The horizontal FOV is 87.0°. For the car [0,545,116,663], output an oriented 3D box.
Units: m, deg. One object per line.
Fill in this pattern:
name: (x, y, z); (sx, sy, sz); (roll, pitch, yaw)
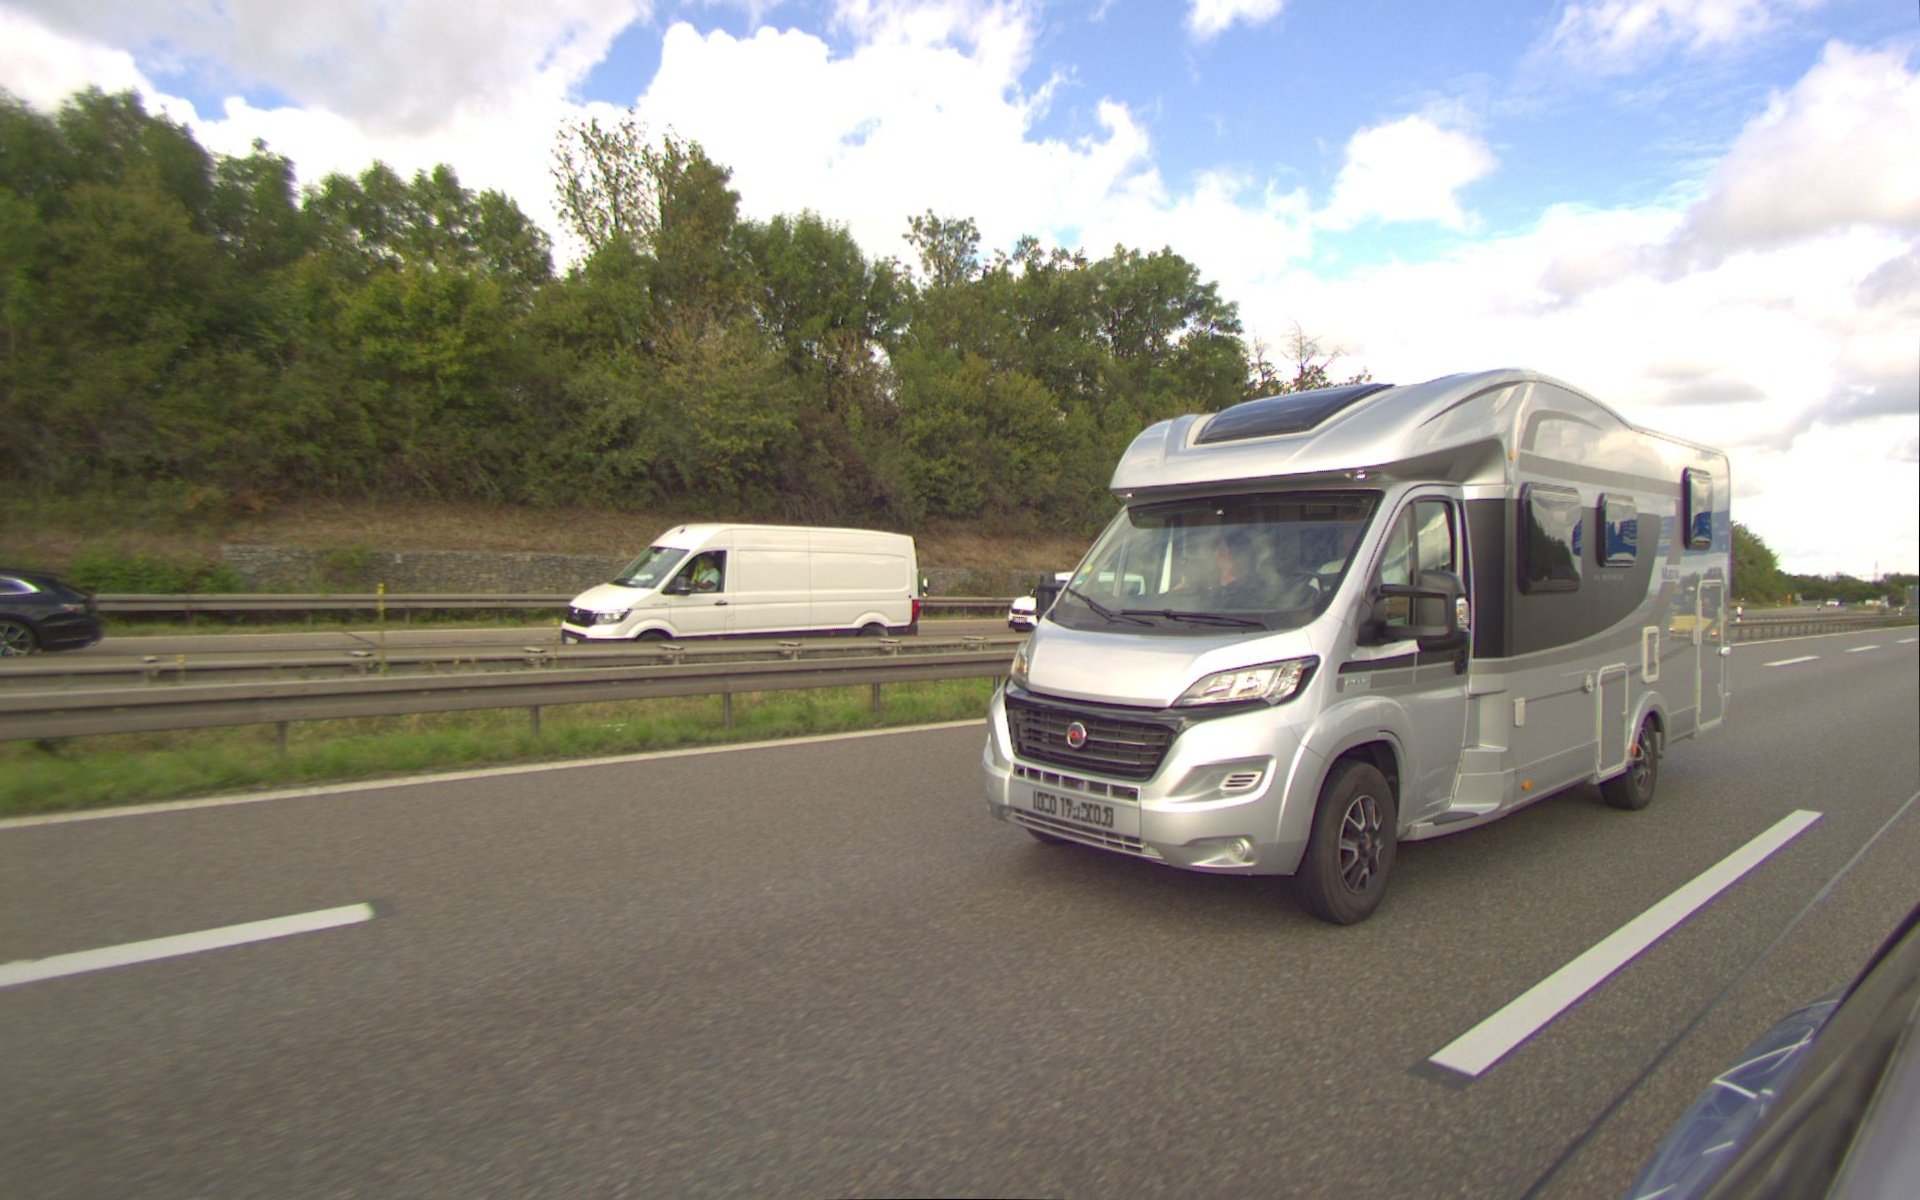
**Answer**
car: (-14.817, 0.019, 14.078); (4.682, 1.622, 1.847); (0, 3, -42)

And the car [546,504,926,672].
car: (-3.849, -0.206, 18.590); (6.626, 2.586, 2.073); (0, 1, -42)

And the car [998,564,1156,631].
car: (3.421, -0.064, 29.049); (4.680, 1.774, 1.846); (0, 0, -41)

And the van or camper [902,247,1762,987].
van or camper: (3.306, 0.055, 7.203); (7.528, 2.756, 2.473); (0, 0, -41)

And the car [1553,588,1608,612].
car: (38.444, 0.004, 62.663); (4.095, 1.433, 1.715); (0, 1, -41)
